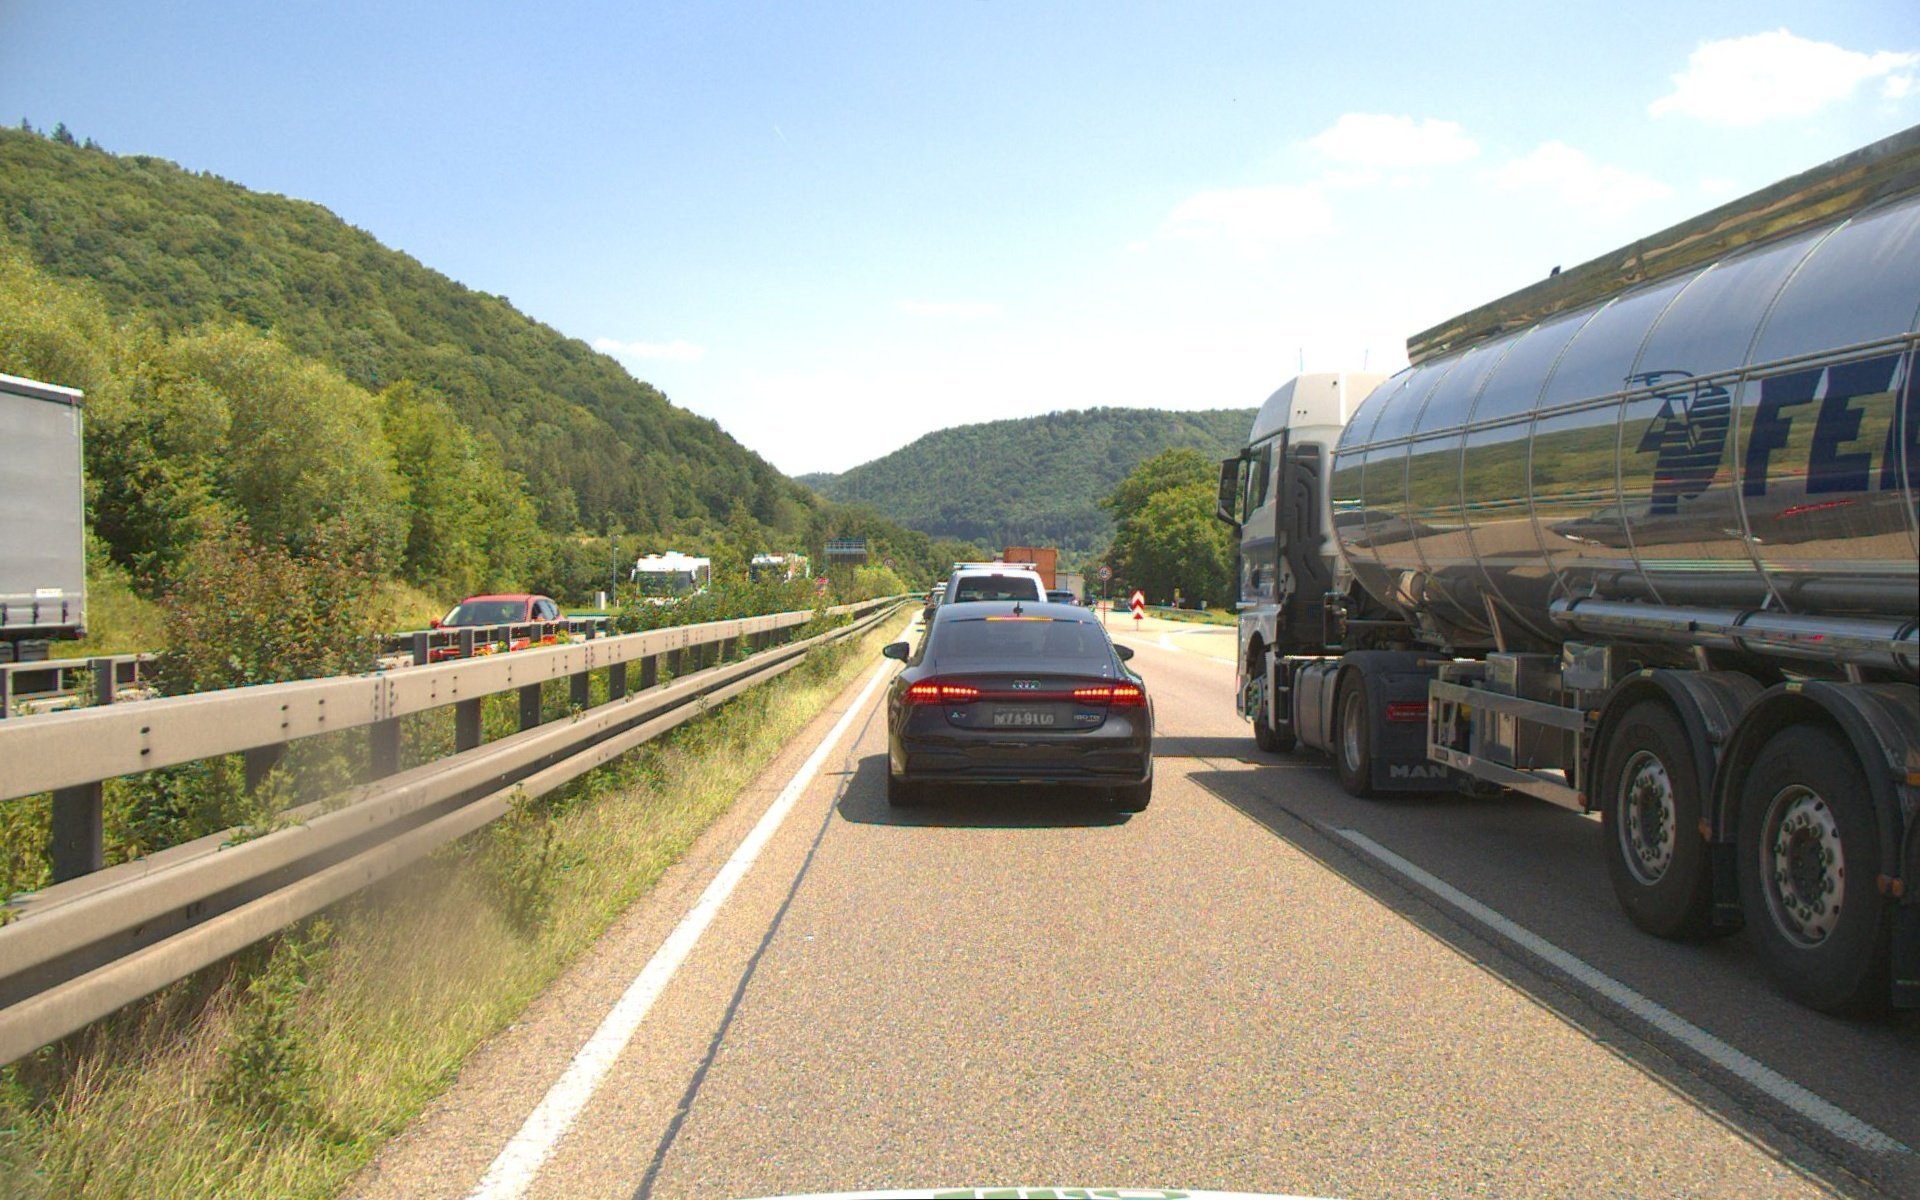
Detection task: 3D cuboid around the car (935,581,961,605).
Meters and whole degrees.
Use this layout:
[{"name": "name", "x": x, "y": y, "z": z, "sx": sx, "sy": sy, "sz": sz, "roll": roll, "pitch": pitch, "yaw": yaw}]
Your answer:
[{"name": "car", "x": -0.822, "y": -0.510, "z": 114.872, "sx": 1.677, "sy": 1.646, "sz": 4.000, "roll": 0, "pitch": 0, "yaw": 0}]

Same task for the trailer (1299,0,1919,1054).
[{"name": "trailer", "x": 4.298, "y": -0.436, "z": 8.293, "sx": 2.487, "sy": 3.801, "sz": 11.888, "roll": 1, "pitch": 0, "yaw": -1}]

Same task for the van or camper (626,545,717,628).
[{"name": "van or camper", "x": -12.329, "y": -0.564, "z": 71.349, "sx": 2.537, "sy": 3.394, "sz": 7.648, "roll": 0, "pitch": 0, "yaw": 0}]

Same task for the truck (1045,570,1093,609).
[{"name": "truck", "x": 13.273, "y": -1.289, "z": 199.726, "sx": 3.712, "sy": 4.491, "sz": 14.968, "roll": 0, "pitch": 0, "yaw": 11}]

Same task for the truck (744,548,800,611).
[{"name": "truck", "x": -12.708, "y": -1.335, "z": 112.677, "sx": 2.811, "sy": 4.076, "sz": 10.168, "roll": 1, "pitch": 0, "yaw": -1}]

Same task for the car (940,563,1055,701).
[{"name": "car", "x": 0.494, "y": 0.423, "z": 24.520, "sx": 1.544, "sy": 1.865, "sz": 3.999, "roll": 1, "pitch": 0, "yaw": -1}]

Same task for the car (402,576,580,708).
[{"name": "car", "x": -7.836, "y": 0.644, "z": 28.058, "sx": 1.954, "sy": 2.049, "sz": 4.332, "roll": 1, "pitch": 0, "yaw": -3}]

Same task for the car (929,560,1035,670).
[{"name": "car", "x": 0.380, "y": 0.271, "z": 32.864, "sx": 1.953, "sy": 2.049, "sz": 3.999, "roll": 1, "pitch": 0, "yaw": -1}]

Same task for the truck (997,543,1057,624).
[{"name": "truck", "x": 3.578, "y": -0.869, "z": 91.620, "sx": 2.760, "sy": 4.073, "sz": 14.955, "roll": 1, "pitch": 0, "yaw": 0}]

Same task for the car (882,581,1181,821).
[{"name": "car", "x": 0.364, "y": 0.631, "z": 12.500, "sx": 1.813, "sy": 1.514, "sz": 4.080, "roll": 1, "pitch": 0, "yaw": -4}]

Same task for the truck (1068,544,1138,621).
[{"name": "truck", "x": 8.087, "y": -0.963, "z": 95.396, "sx": 2.760, "sy": 4.073, "sz": 14.955, "roll": 1, "pitch": 0, "yaw": 0}]

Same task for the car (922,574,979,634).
[{"name": "car", "x": -0.360, "y": 0.114, "z": 59.058, "sx": 1.953, "sy": 2.049, "sz": 3.999, "roll": 0, "pitch": 0, "yaw": -1}]

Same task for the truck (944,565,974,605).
[{"name": "truck", "x": -0.118, "y": -1.356, "z": 151.412, "sx": 2.575, "sy": 3.500, "sz": 11.420, "roll": 0, "pitch": 0, "yaw": 0}]

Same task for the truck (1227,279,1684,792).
[{"name": "truck", "x": 4.151, "y": -0.491, "z": 15.037, "sx": 2.460, "sy": 3.824, "sz": 5.244, "roll": 1, "pitch": 0, "yaw": -1}]

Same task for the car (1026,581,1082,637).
[{"name": "car", "x": 3.562, "y": 0.319, "z": 63.281, "sx": 1.952, "sy": 2.037, "sz": 4.000, "roll": 0, "pitch": 0, "yaw": 0}]

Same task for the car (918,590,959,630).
[{"name": "car", "x": -0.889, "y": 0.422, "z": 70.791, "sx": 1.677, "sy": 1.646, "sz": 4.000, "roll": 0, "pitch": 0, "yaw": 0}]

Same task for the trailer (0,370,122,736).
[{"name": "trailer", "x": -12.014, "y": -0.508, "z": 13.989, "sx": 2.726, "sy": 4.069, "sz": 14.158, "roll": 1, "pitch": 0, "yaw": 0}]

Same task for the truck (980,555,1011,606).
[{"name": "truck", "x": 2.561, "y": -1.392, "z": 121.976, "sx": 1.953, "sy": 3.507, "sz": 11.810, "roll": 1, "pitch": 0, "yaw": 0}]

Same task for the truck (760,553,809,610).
[{"name": "truck", "x": -12.900, "y": -1.330, "z": 122.265, "sx": 2.811, "sy": 4.050, "sz": 9.030, "roll": 1, "pitch": 0, "yaw": -1}]
